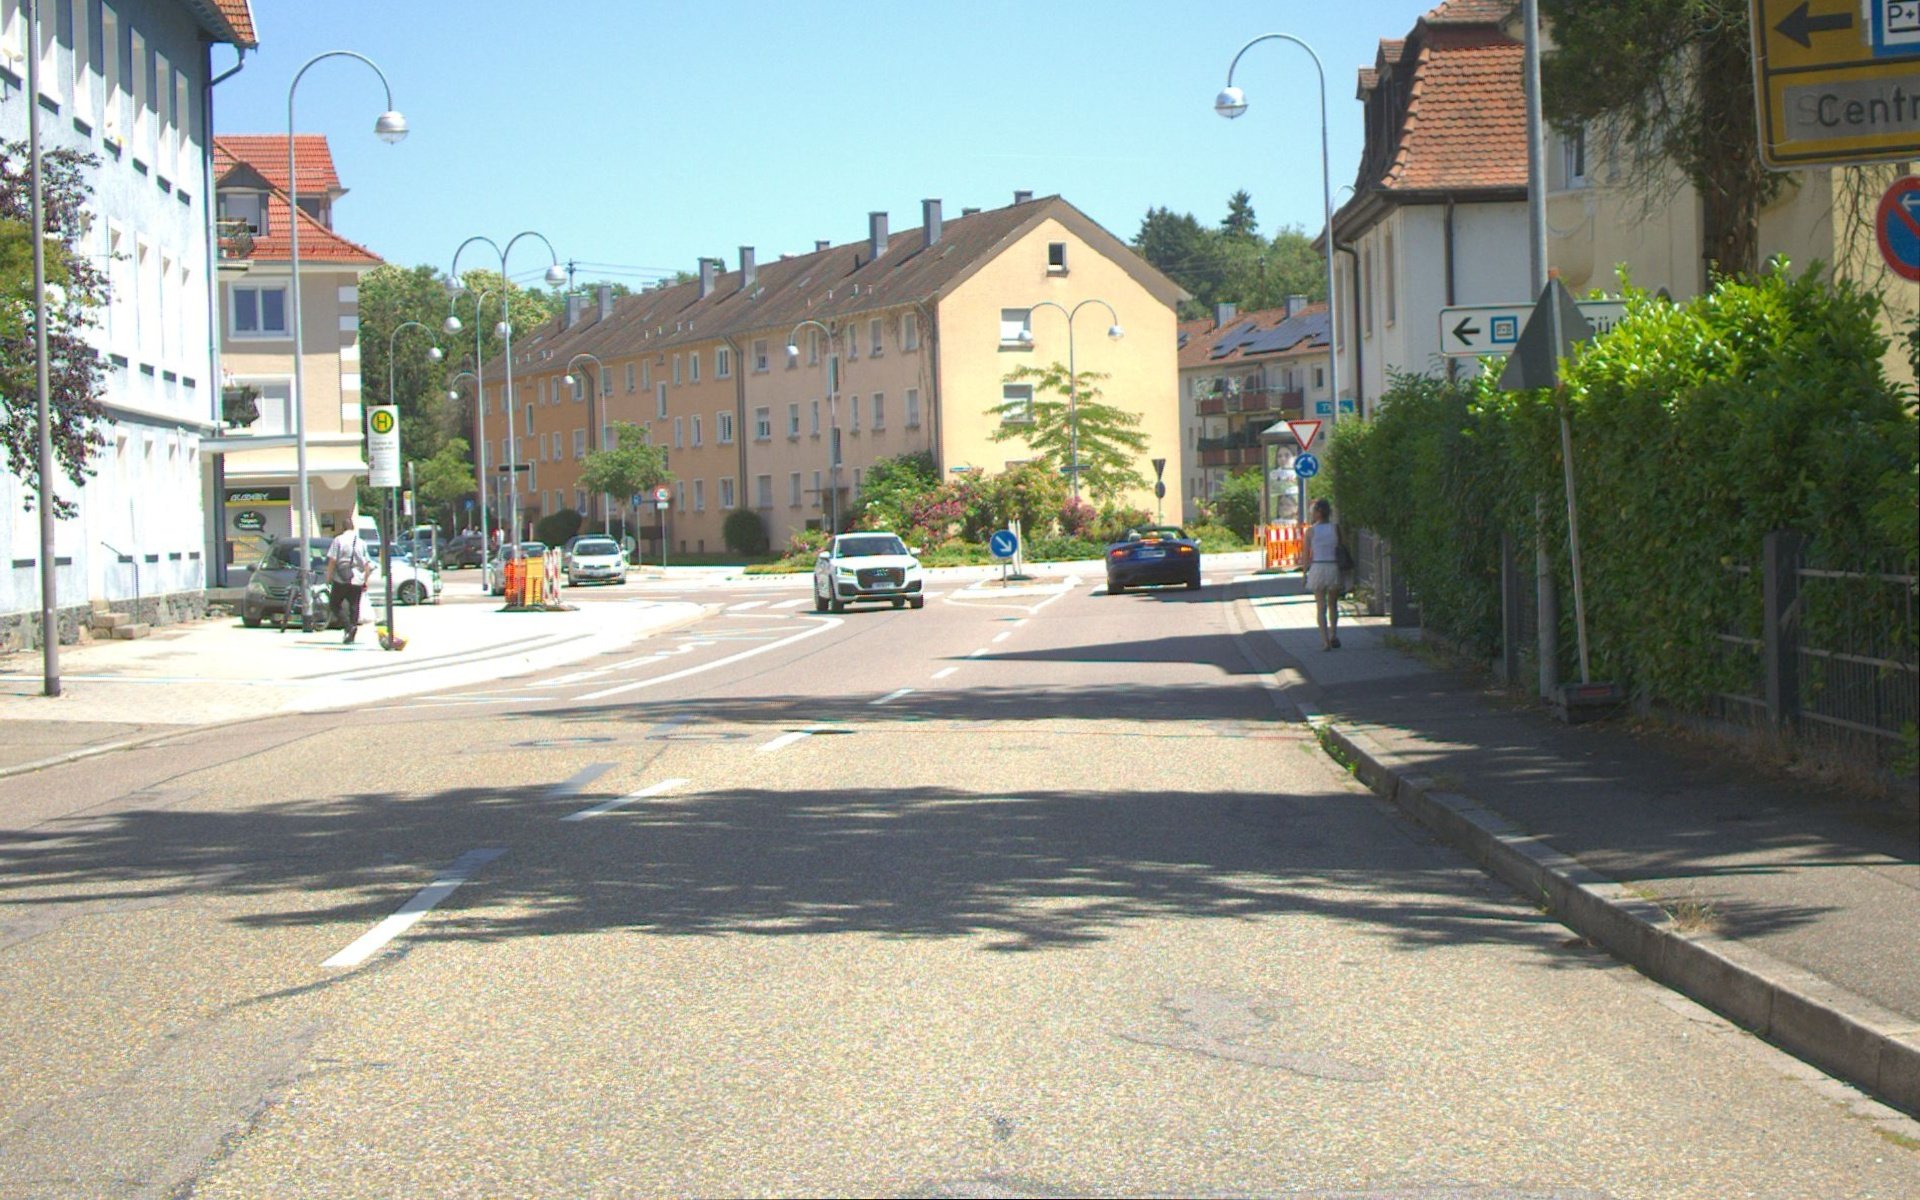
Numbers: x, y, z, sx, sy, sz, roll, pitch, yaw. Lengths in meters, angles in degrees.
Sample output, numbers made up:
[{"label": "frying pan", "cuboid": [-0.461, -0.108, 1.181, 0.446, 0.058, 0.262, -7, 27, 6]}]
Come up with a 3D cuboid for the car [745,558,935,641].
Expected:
[{"label": "car", "cuboid": [-2.372, 0.000, 67.242, 1.821, 1.525, 3.949, -1, -1, -35]}]

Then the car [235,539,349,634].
[{"label": "car", "cuboid": [-11.364, -0.211, 58.640, 1.577, 1.529, 3.776, -1, 0, -6]}]

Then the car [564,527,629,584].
[{"label": "car", "cuboid": [-11.457, -1.394, 108.124, 1.781, 1.741, 4.129, 0, 1, -10]}]

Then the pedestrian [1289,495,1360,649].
[{"label": "pedestrian", "cuboid": [3.966, -0.311, 37.446, 0.623, 1.638, 0.772, -2, 0, 0]}]

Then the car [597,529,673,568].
[{"label": "car", "cuboid": [-13.069, -2.061, 138.167, 1.812, 1.495, 4.001, 0, 0, -25]}]

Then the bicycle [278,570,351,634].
[{"label": "bicycle", "cuboid": [-10.250, 0.034, 54.674, 0.496, 0.974, 1.972, 3, 1, 8]}]

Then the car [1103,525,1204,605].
[{"label": "car", "cuboid": [3.927, -0.689, 70.418, 1.871, 1.525, 4.506, -1, 0, 1]}]

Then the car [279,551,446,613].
[{"label": "car", "cuboid": [-15.108, -0.468, 87.066, 4.114, 1.545, 1.788, 0, 1, -8]}]

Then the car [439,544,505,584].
[{"label": "car", "cuboid": [-21.793, -1.595, 153.504, 1.812, 1.788, 4.001, 0, 0, -25]}]

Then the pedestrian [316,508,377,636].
[{"label": "pedestrian", "cuboid": [-8.998, -0.411, 50.465, 0.755, 1.842, 0.772, 2, 0, -4]}]
